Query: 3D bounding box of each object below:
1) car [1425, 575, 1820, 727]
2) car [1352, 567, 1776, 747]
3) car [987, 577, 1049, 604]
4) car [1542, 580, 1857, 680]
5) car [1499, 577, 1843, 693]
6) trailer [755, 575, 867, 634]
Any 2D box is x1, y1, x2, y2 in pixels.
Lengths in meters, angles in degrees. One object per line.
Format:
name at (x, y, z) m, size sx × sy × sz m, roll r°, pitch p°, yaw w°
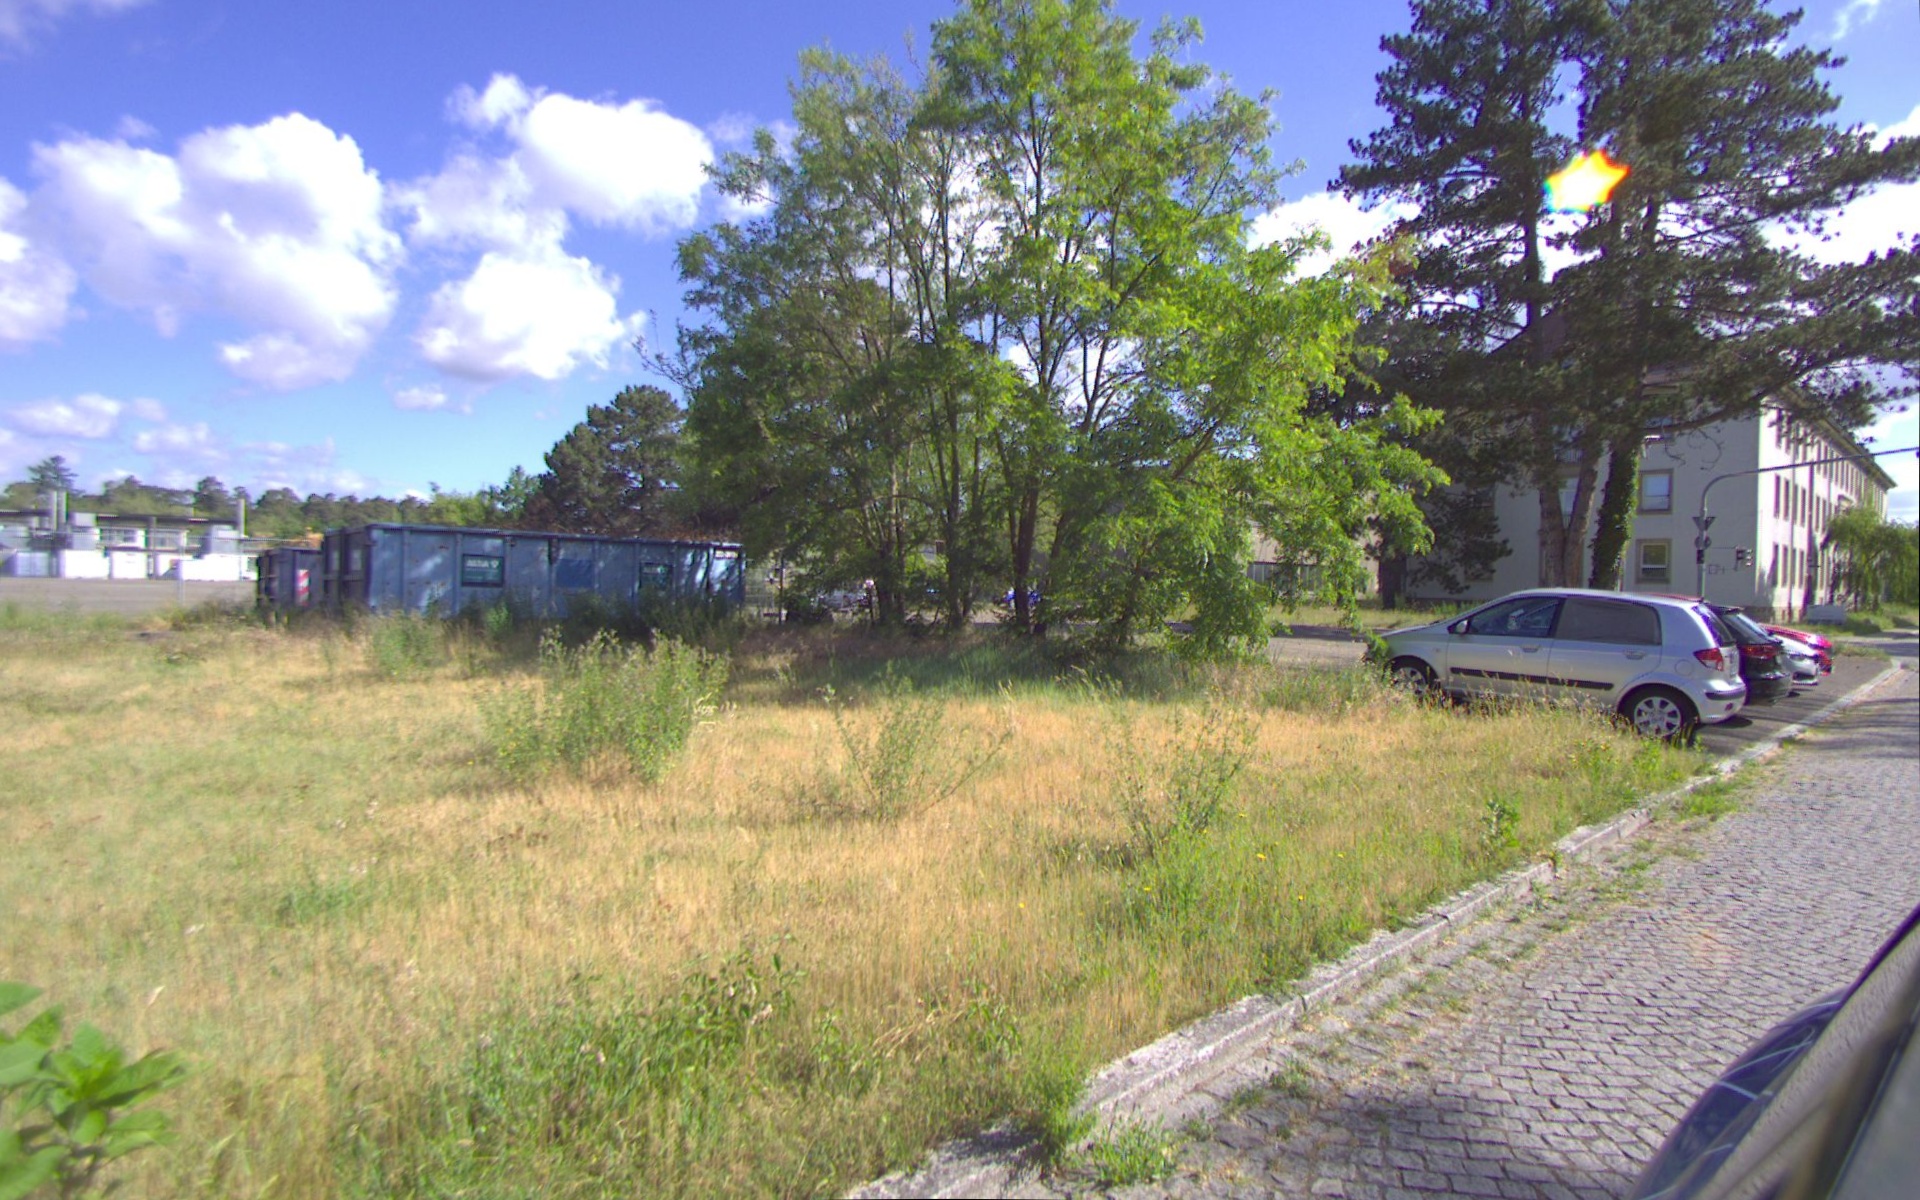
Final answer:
car at (8.586, 0.534, 13.370) m, size 1.813 × 1.458 × 4.010 m, roll 1°, pitch 4°, yaw -44°
car at (6.678, 0.490, 11.458) m, size 1.723 × 1.494 × 3.746 m, roll 0°, pitch 5°, yaw -44°
car at (3.896, -0.654, 67.985) m, size 3.991 × 1.582 × 1.859 m, roll -4°, pitch 4°, yaw -41°
car at (13.914, 0.463, 19.270) m, size 1.863 × 1.438 × 4.544 m, roll 0°, pitch 4°, yaw -43°
car at (11.981, 0.475, 17.285) m, size 1.809 × 1.482 × 4.517 m, roll 0°, pitch 4°, yaw -45°
trailer at (-3.051, 0.066, 20.538) m, size 2.399 × 1.119 × 1.019 m, roll 1°, pitch 0°, yaw 44°
